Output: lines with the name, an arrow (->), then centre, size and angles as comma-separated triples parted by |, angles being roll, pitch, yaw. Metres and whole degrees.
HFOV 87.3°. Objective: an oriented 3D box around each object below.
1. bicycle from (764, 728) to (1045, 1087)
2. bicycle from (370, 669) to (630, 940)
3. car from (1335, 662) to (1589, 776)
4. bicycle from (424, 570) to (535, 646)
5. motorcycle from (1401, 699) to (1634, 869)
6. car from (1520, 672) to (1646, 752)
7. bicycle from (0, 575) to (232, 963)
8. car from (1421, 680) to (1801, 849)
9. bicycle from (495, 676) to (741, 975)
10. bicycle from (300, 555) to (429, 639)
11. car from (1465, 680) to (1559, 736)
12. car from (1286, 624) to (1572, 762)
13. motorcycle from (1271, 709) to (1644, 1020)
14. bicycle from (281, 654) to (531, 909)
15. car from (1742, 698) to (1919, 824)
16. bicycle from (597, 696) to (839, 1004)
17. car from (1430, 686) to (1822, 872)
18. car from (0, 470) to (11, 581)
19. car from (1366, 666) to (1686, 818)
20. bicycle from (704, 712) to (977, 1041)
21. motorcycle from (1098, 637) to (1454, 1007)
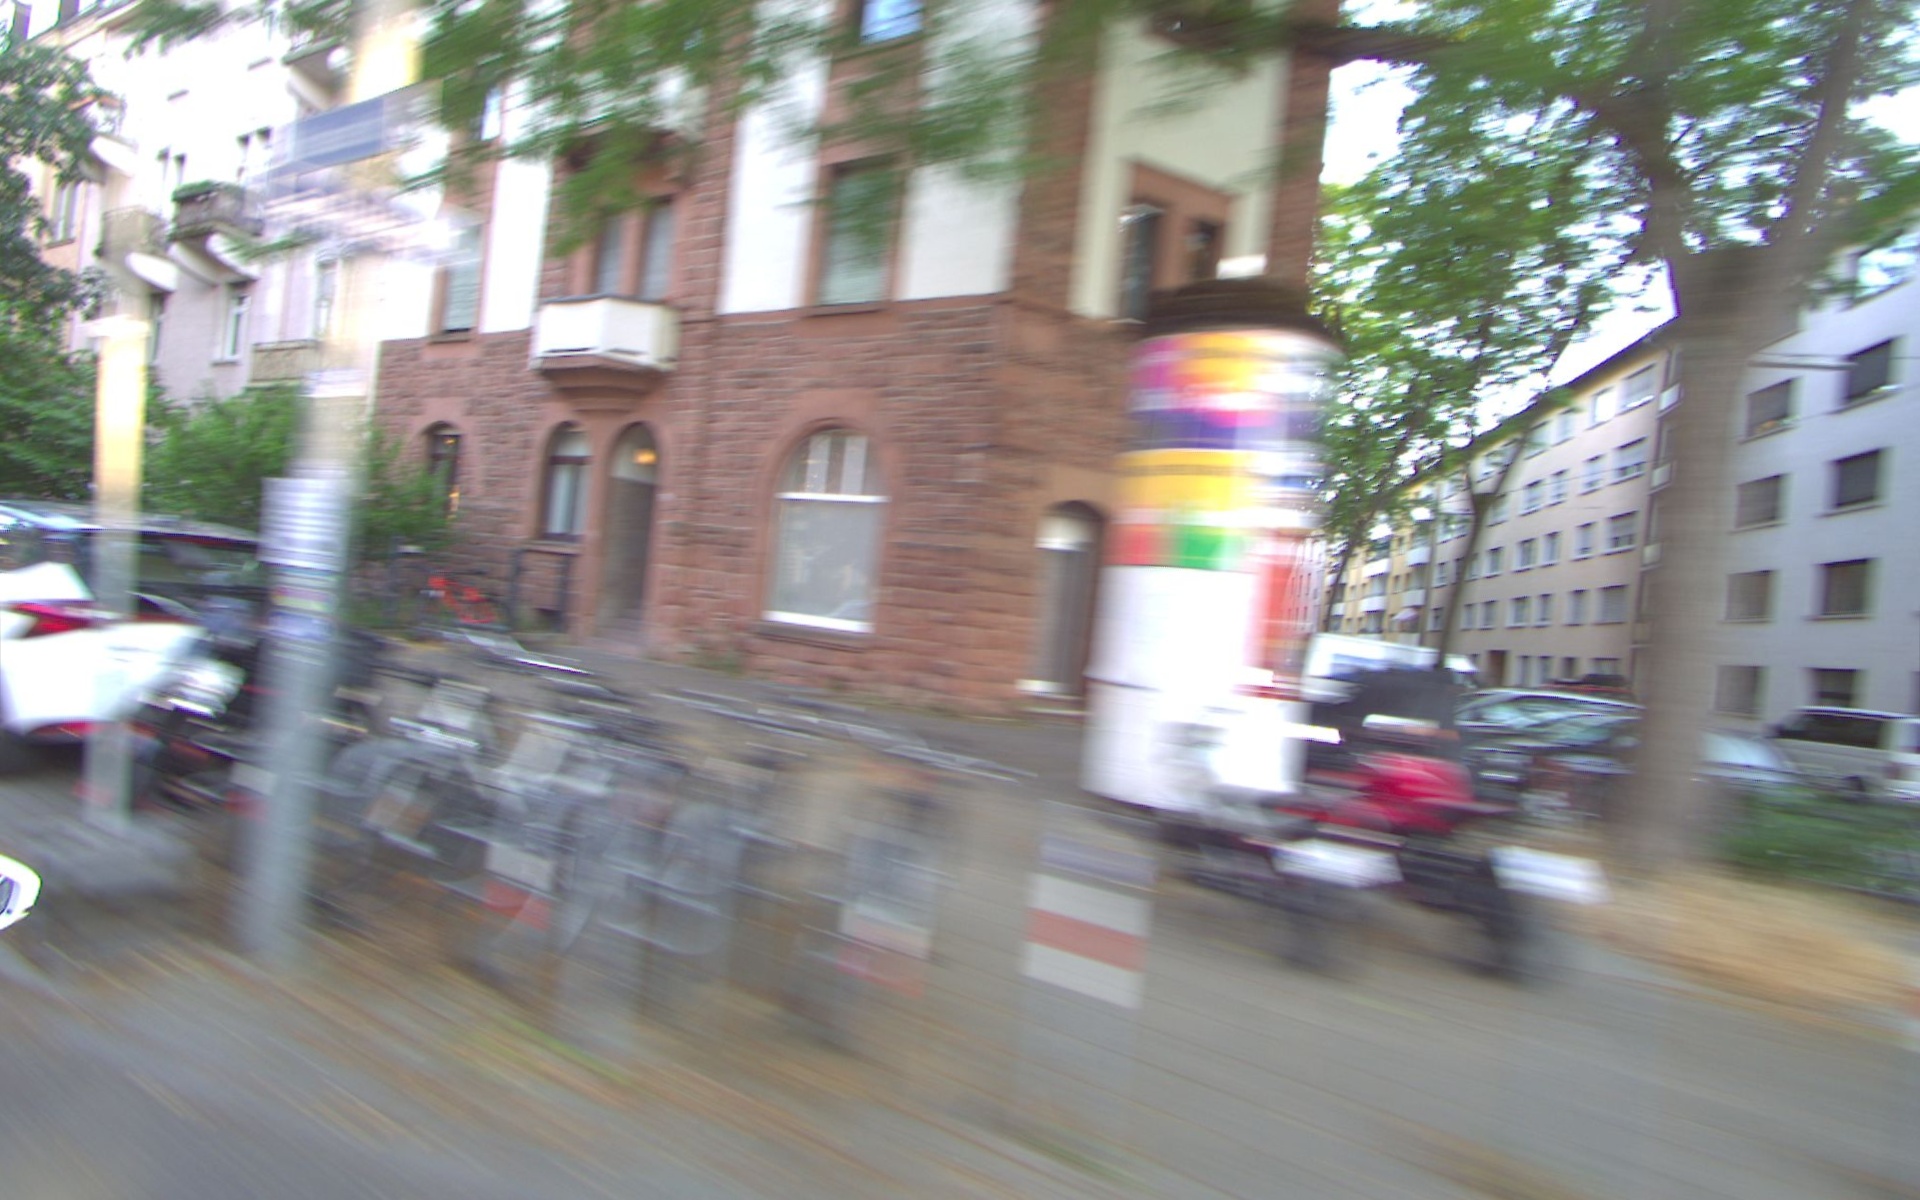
bicycle -> -0.145, 1.031, 3.723 | 0.325, 0.999, 1.226 | 8, 1, 29
bicycle -> -1.982, 0.829, 4.493 | 0.324, 0.959, 1.228 | 8, 0, 9
car -> 9.482, 2.237, 19.346 | 3.924, 1.535, 1.860 | 7, -3, 15
bicycle -> -7.185, 0.142, 15.107 | 0.325, 1.047, 1.511 | 8, 1, 29
motorcycle -> 4.963, 1.595, 9.163 | 0.430, 1.093, 2.104 | 7, 0, -13
car -> 20.771, 3.654, 33.784 | 1.871, 2.226, 4.482 | 6, -2, 10
bicycle -> -3.243, 0.539, 3.948 | 0.441, 1.187, 1.622 | 7, -1, -33
car -> 8.801, 2.173, 14.005 | 3.924, 1.572, 1.827 | 7, -1, 14
bicycle -> -1.355, 0.847, 4.194 | 0.324, 0.969, 1.228 | 8, 0, 9
bicycle -> -8.273, -0.014, 14.037 | 0.325, 1.047, 1.511 | 8, 1, 29
car -> 21.543, 4.168, 39.426 | 1.871, 1.764, 4.013 | 6, -2, 10
car -> 10.565, 2.059, 23.105 | 5.414, 2.330, 2.002 | 7, -1, 11
motorcycle -> 2.581, 1.320, 5.605 | 0.430, 1.093, 2.206 | 7, 0, -13
bicycle -> -2.536, 0.777, 4.738 | 0.324, 0.963, 1.228 | 8, 0, 4
car -> 18.215, 3.180, 20.183 | 1.871, 2.042, 4.482 | 6, -2, 8
bicycle -> -0.934, 0.937, 4.157 | 0.324, 0.975, 1.228 | 8, 0, 14
car -> 7.651, 2.005, 11.912 | 3.368, 1.495, 1.683 | 7, -1, 14
car -> -10.569, -0.499, 8.876 | 4.522, 1.732, 1.801 | 6, 0, 29
car -> 9.031, 2.221, 16.432 | 4.064, 1.741, 1.778 | 7, -1, 14
bicycle -> -0.410, 0.990, 3.964 | 0.325, 1.000, 1.226 | 8, 1, 28
motorcycle -> 1.518, 1.014, 5.404 | 0.576, 1.425, 2.206 | 7, 0, -15
